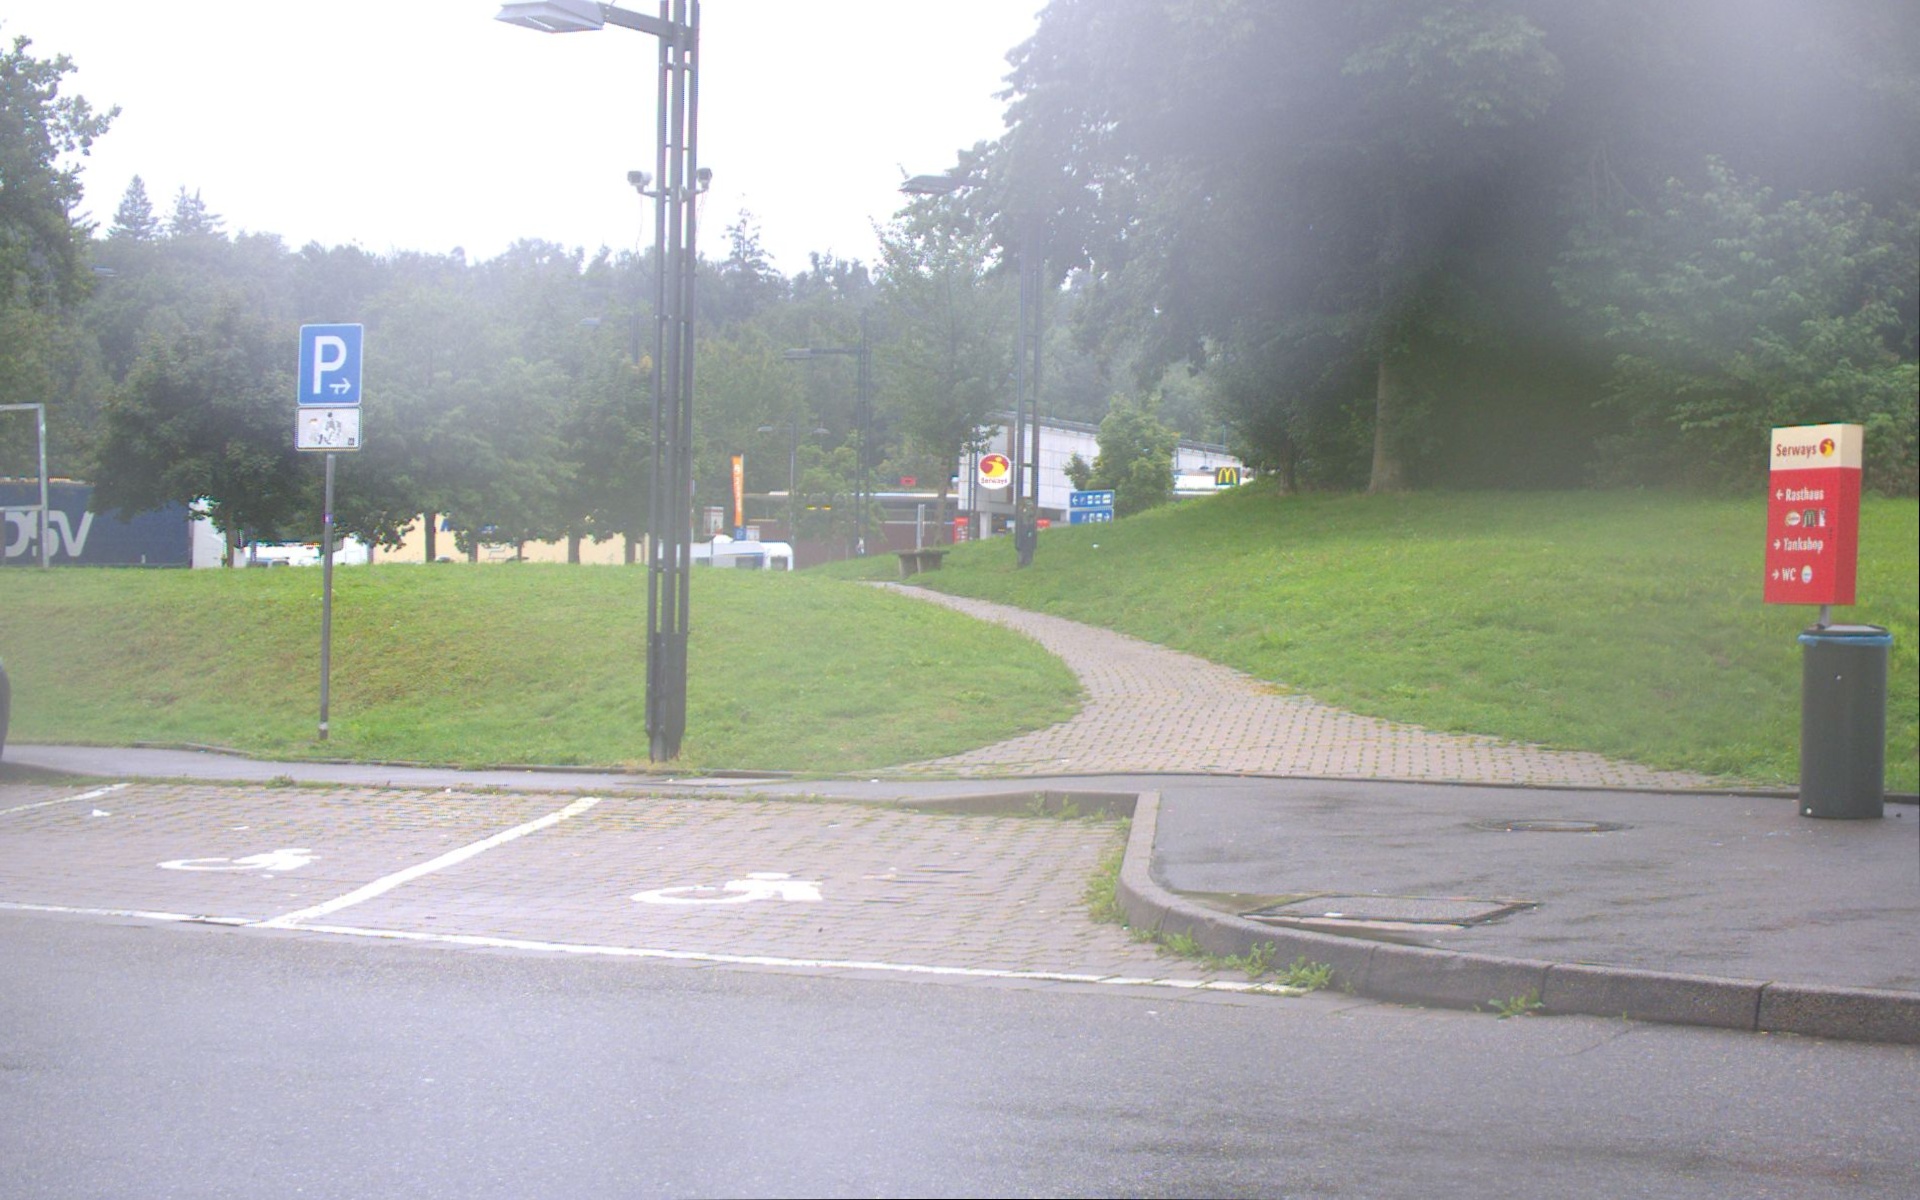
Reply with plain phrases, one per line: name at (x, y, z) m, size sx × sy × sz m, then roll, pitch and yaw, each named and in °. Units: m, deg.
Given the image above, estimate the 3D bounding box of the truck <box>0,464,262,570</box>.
truck at (-25.451, -2.377, 101.655) m, size 2.188 × 2.910 × 13.082 m, roll 1°, pitch 1°, yaw 24°

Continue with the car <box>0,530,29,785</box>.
car at (-7.794, 0.450, 21.517) m, size 2.018 × 1.705 × 4.341 m, roll -1°, pitch 1°, yaw 12°

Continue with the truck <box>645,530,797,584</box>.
truck at (-9.311, -1.676, 133.831) m, size 5.413 × 2.007 × 2.364 m, roll 1°, pitch 1°, yaw 25°

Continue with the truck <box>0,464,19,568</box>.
truck at (-28.590, -2.351, 94.685) m, size 2.189 × 2.910 × 5.380 m, roll 1°, pitch 1°, yaw 24°
